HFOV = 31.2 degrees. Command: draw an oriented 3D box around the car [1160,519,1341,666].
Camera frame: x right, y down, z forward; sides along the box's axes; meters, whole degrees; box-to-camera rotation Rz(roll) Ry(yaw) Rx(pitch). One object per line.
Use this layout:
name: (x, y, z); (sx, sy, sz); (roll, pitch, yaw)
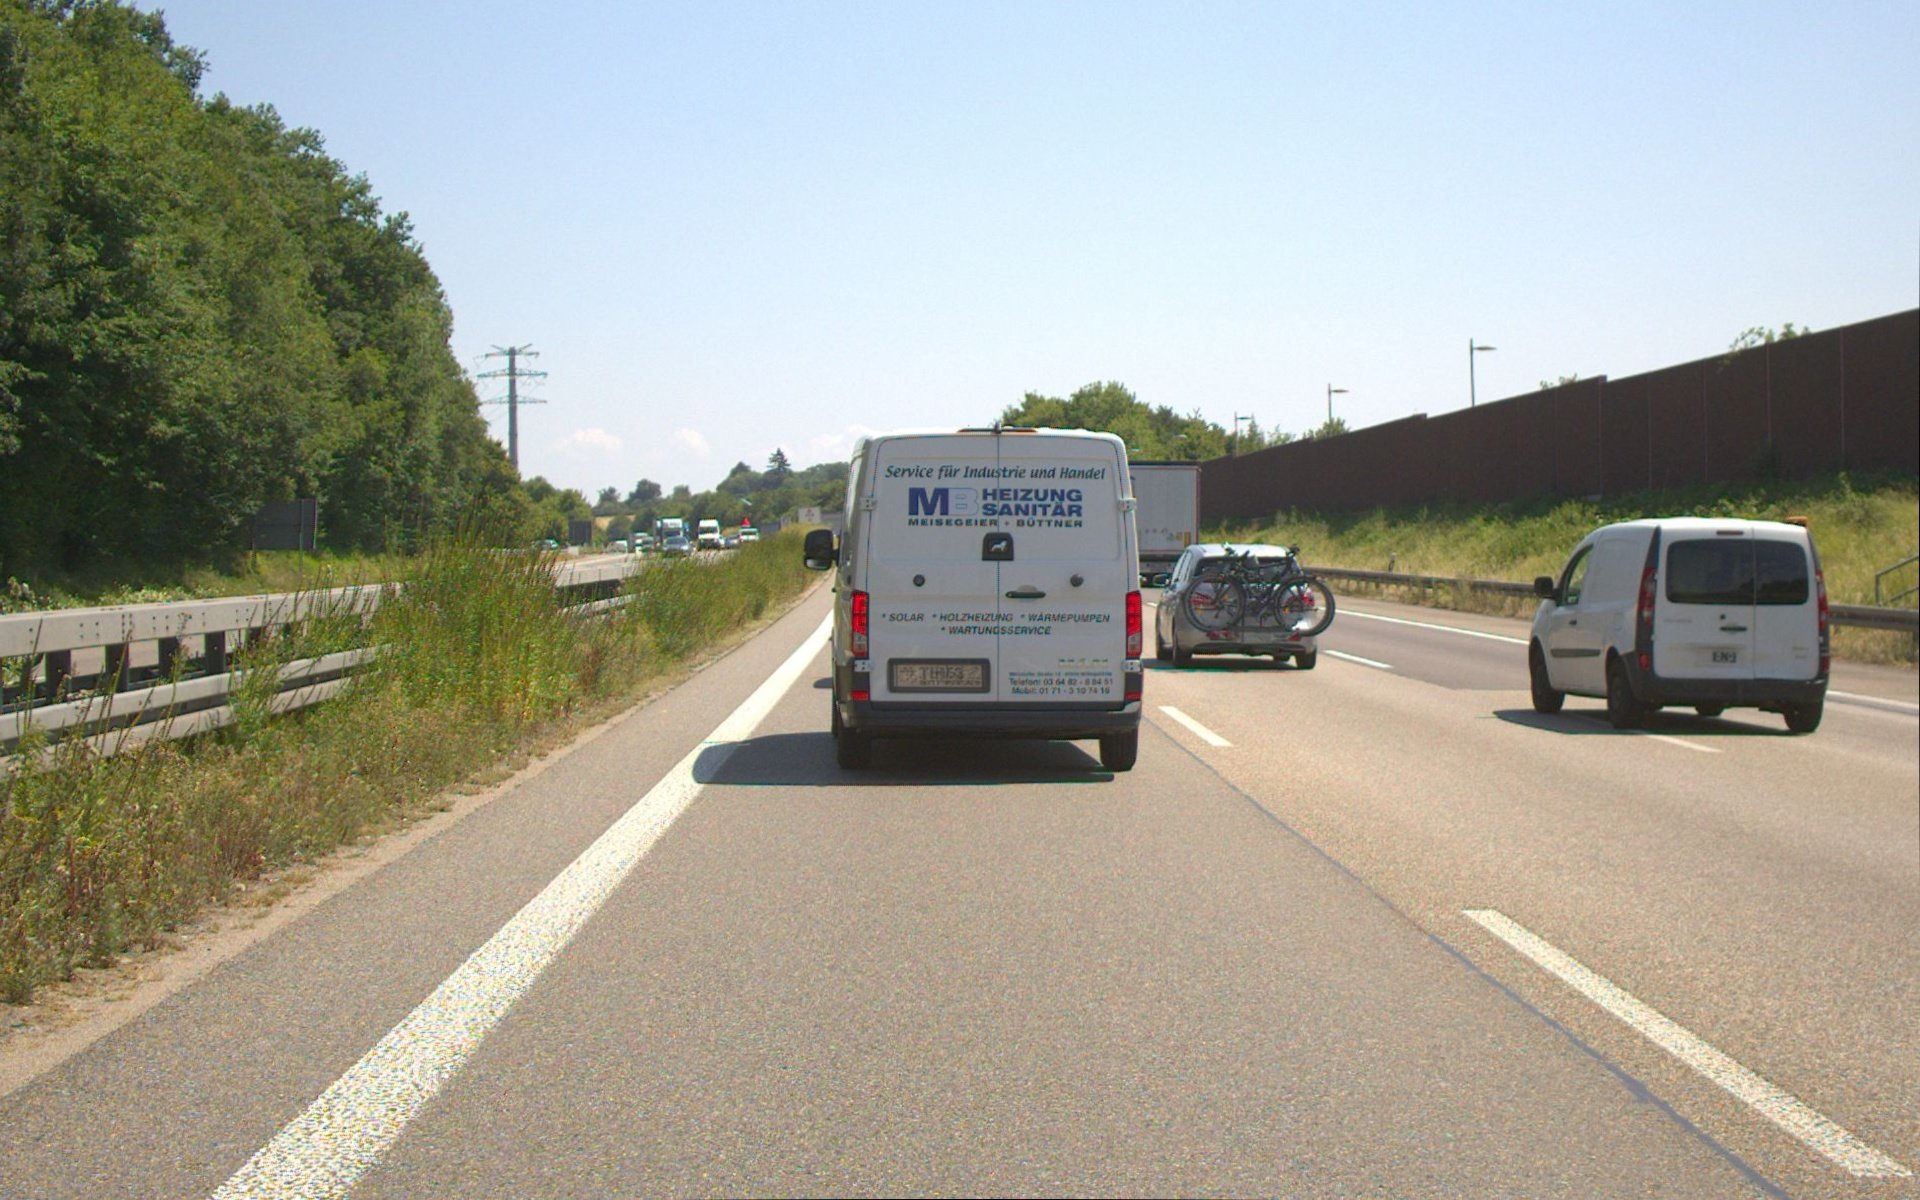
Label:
car: (3.591, -0.109, 43.091); (1.976, 1.727, 4.088); (-1, 0, 1)

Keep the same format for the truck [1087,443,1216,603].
truck: (6.305, -2.486, 115.332); (3.788, 4.982, 12.518); (1, 0, 1)

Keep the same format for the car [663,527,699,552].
car: (-17.811, -3.870, 219.566); (1.993, 1.514, 4.722); (-2, 1, -1)

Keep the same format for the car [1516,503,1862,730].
car: (6.311, 0.114, 30.239); (1.950, 1.831, 4.179); (-1, 0, -3)

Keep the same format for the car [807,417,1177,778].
car: (0.087, -0.039, 24.323); (2.181, 2.246, 5.364); (1, 0, -4)

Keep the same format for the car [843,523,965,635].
car: (-0.847, -0.340, 54.471); (1.745, 1.695, 4.088); (-1, 0, 1)
